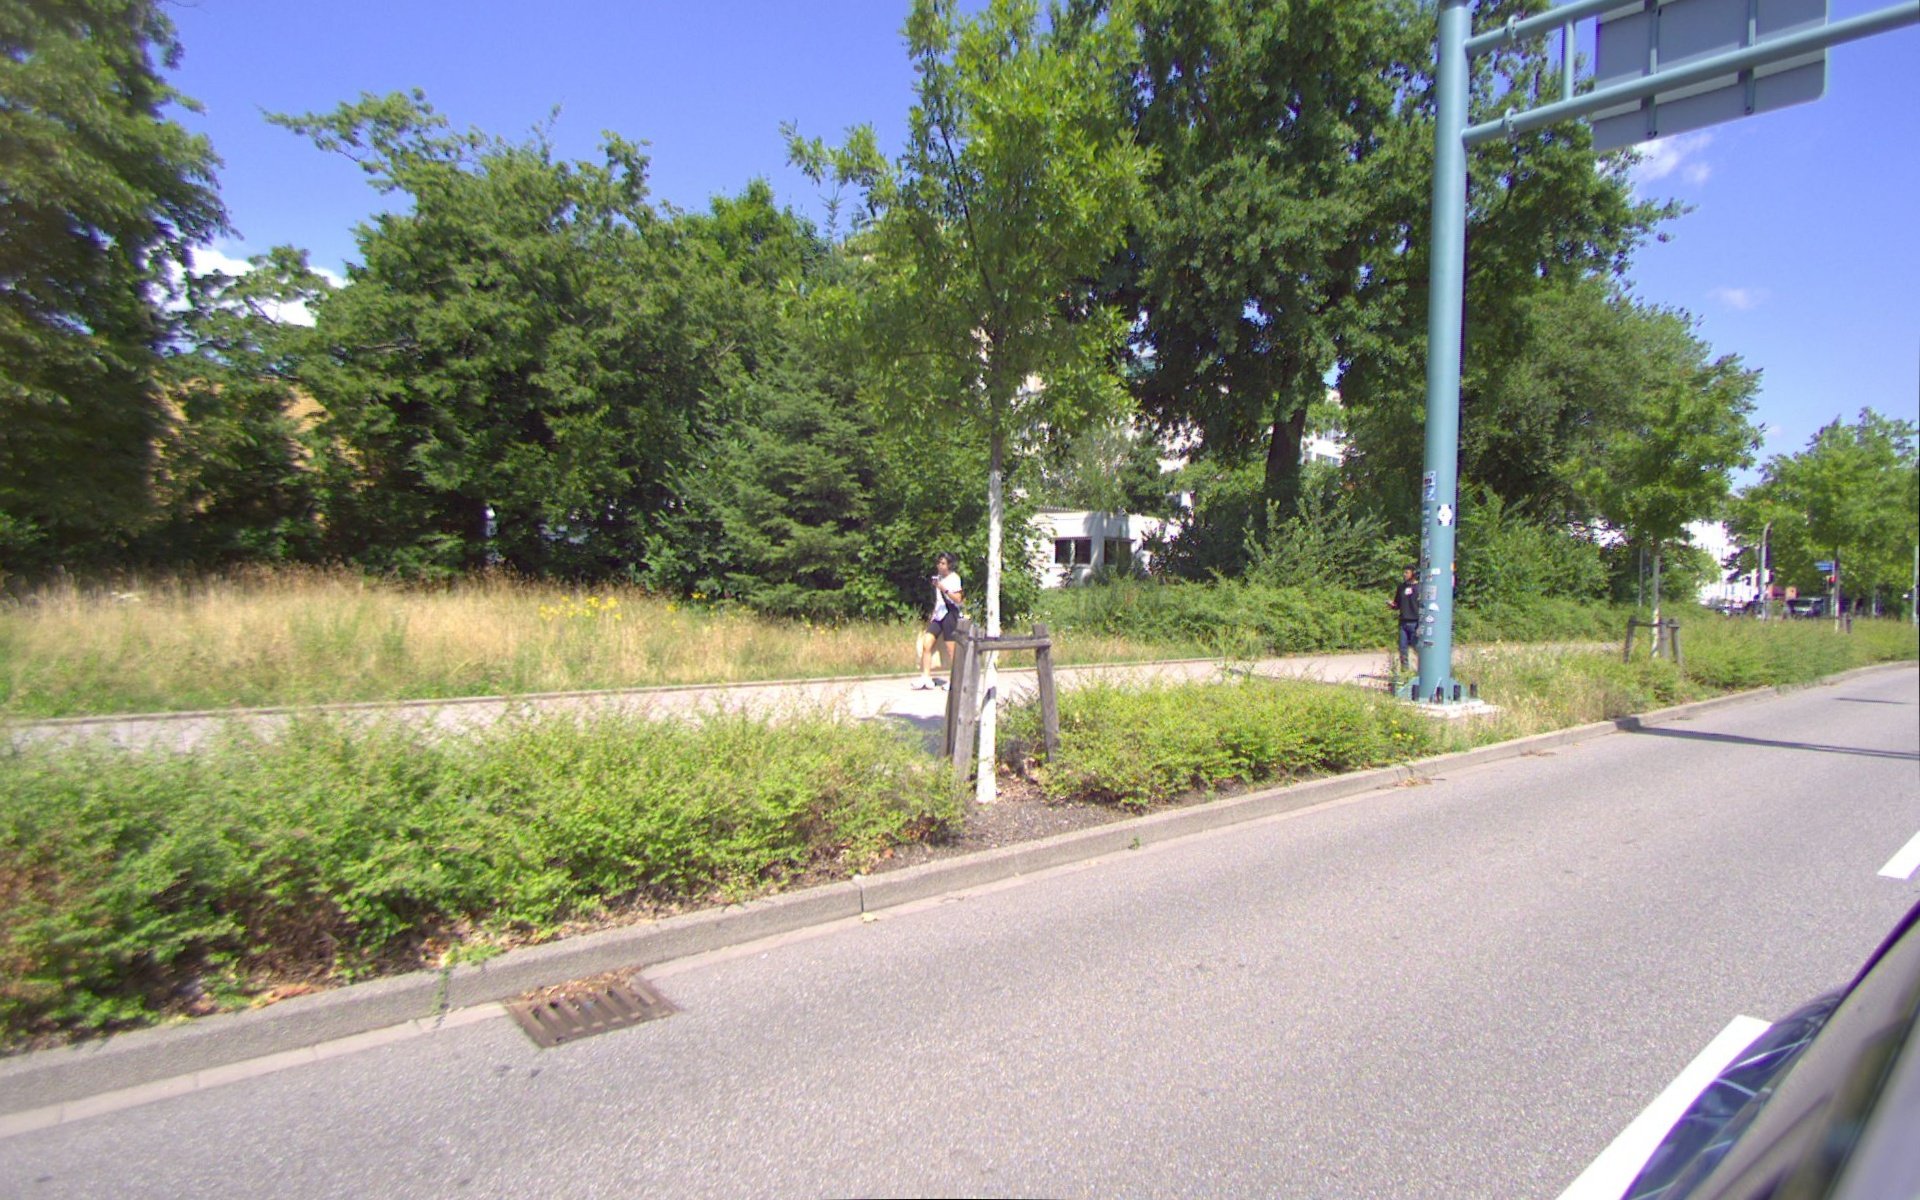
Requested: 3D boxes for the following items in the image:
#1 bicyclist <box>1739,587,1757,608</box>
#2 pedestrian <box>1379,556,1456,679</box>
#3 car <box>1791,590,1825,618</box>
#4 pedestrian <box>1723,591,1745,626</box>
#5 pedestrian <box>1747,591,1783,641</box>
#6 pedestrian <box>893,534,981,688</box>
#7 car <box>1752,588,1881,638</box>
[{"bbox_3d":[56.129,-0.155,72.087,0.967,1.462,1.062,1,1,39],"label":"bicyclist"},{"bbox_3d":[6.742,0.239,14.911,0.822,1.743,0.718,1,1,-39],"label":"pedestrian"},{"bbox_3d":[67.157,0.299,80.123,1.992,2.080,4.166,2,1,41],"label":"car"},{"bbox_3d":[42.152,0.452,55.126,0.875,1.896,0.958,1,0,40],"label":"pedestrian"},{"bbox_3d":[28.793,0.550,36.190,0.913,1.743,0.815,1,1,-39],"label":"pedestrian"},{"bbox_3d":[-0.276,0.116,11.963,0.733,1.743,0.724,1,1,-39],"label":"pedestrian"},{"bbox_3d":[38.117,0.540,45.172,1.958,2.039,4.008,1,1,-12],"label":"car"}]
